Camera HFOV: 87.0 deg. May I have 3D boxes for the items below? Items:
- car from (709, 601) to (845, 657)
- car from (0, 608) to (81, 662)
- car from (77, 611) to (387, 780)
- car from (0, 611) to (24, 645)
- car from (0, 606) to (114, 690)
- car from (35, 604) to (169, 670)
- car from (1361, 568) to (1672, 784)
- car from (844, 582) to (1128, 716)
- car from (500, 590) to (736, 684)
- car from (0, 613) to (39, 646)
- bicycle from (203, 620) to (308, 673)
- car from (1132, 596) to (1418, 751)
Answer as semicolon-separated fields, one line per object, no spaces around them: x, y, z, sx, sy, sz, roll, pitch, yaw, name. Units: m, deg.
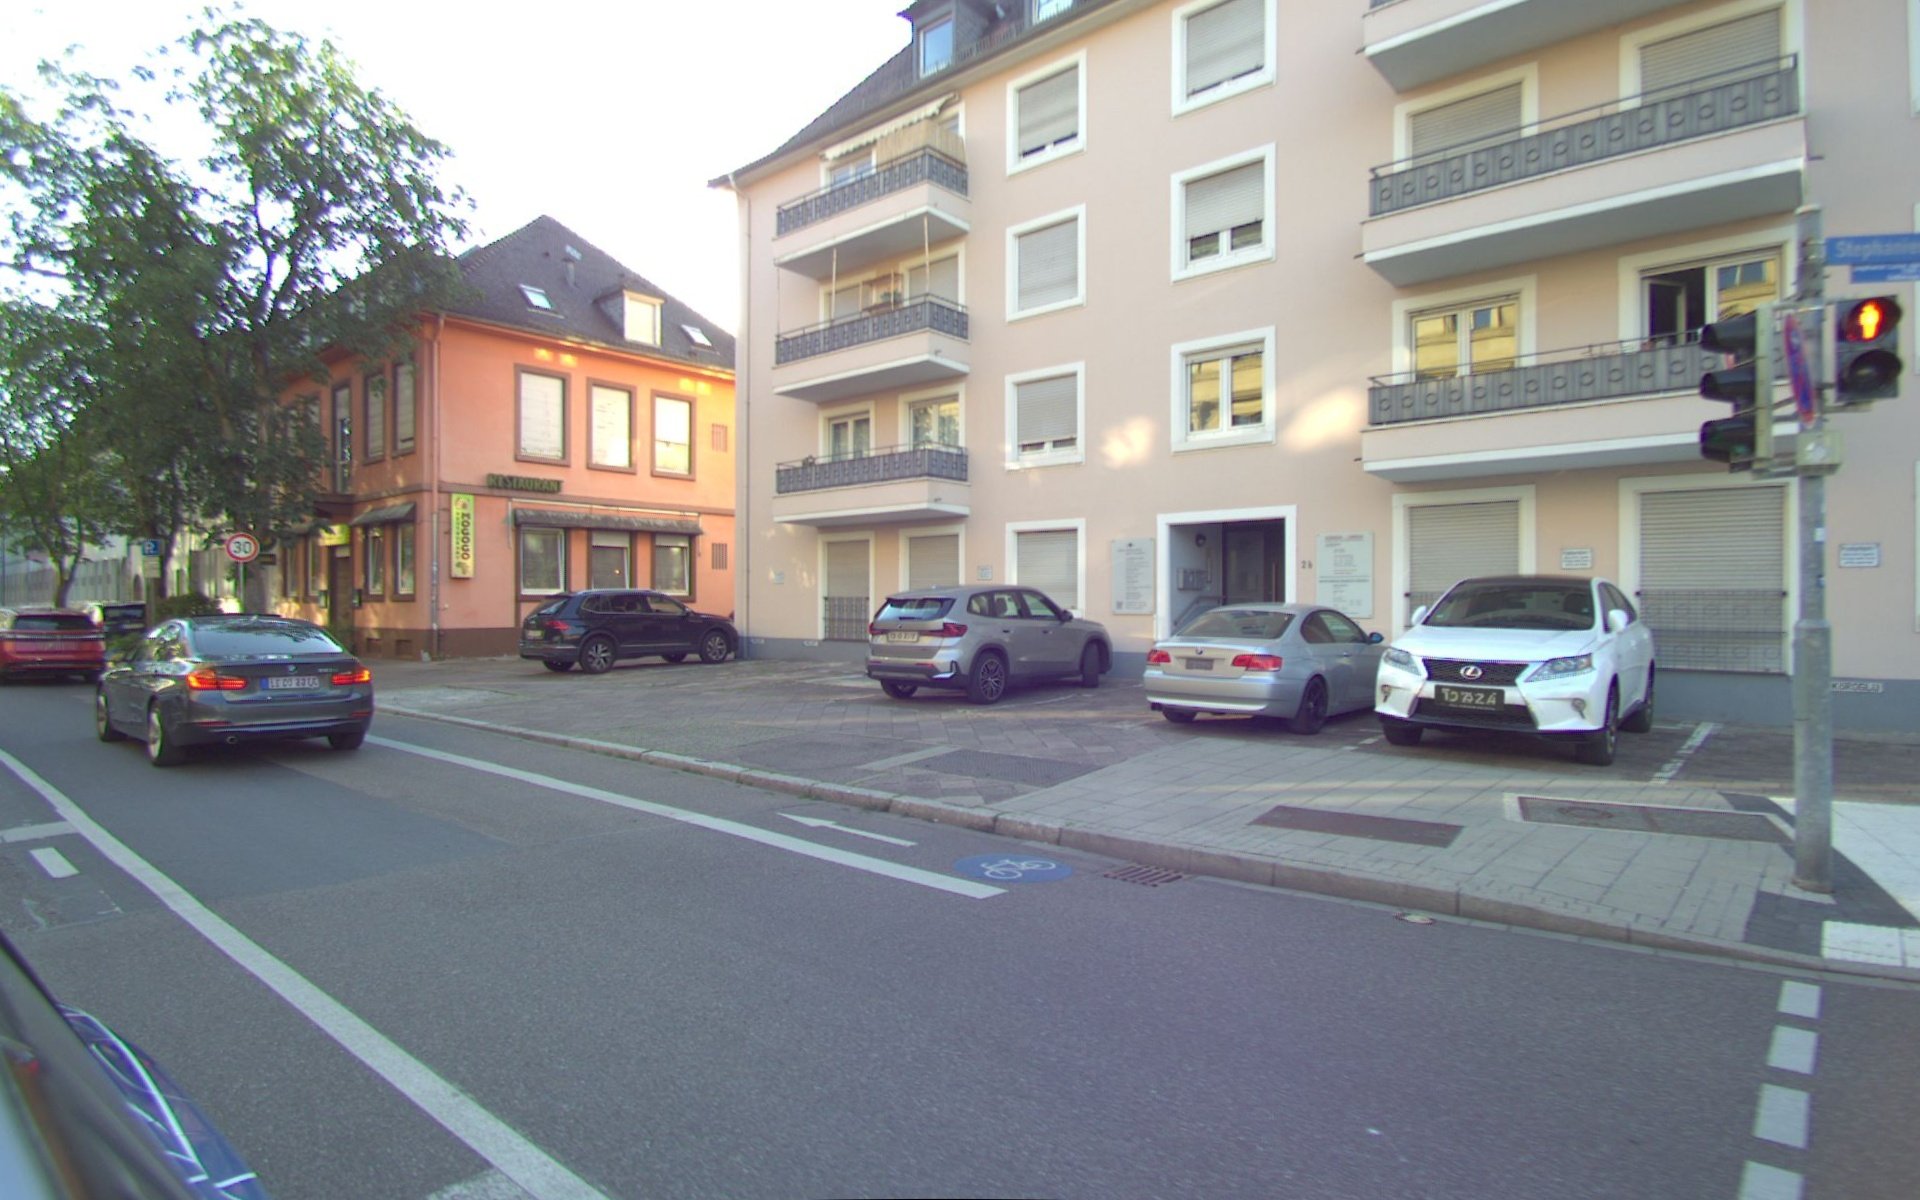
-5.486;0.837;30.694;1.884;1.567;3.762;-1;-1;38;car
-33.143;1.183;35.918;4.645;1.680;1.813;-1;3;35;car
-8.069;0.878;11.053;4.421;1.470;1.764;0;-1;41;car
-49.301;1.390;50.051;1.798;1.702;4.178;-1;-1;38;car
-19.309;0.954;20.862;4.839;1.557;1.814;-1;-2;37;car
-26.296;1.065;30.967;5.037;1.772;1.813;-1;3;35;car
5.736;0.543;10.131;1.940;1.653;4.396;-1;1;39;car
0.540;0.593;14.987;1.914;1.617;4.374;-1;1;39;car
-7.058;0.690;21.274;1.862;1.678;4.374;-1;1;39;car
-47.037;1.428;48.492;1.801;1.557;4.172;-1;-1;43;car
-15.921;1.022;22.915;0.609;1.112;1.850;-1;0;34;bicycle
3.855;0.708;11.899;1.734;1.391;4.224;-1;1;39;car
